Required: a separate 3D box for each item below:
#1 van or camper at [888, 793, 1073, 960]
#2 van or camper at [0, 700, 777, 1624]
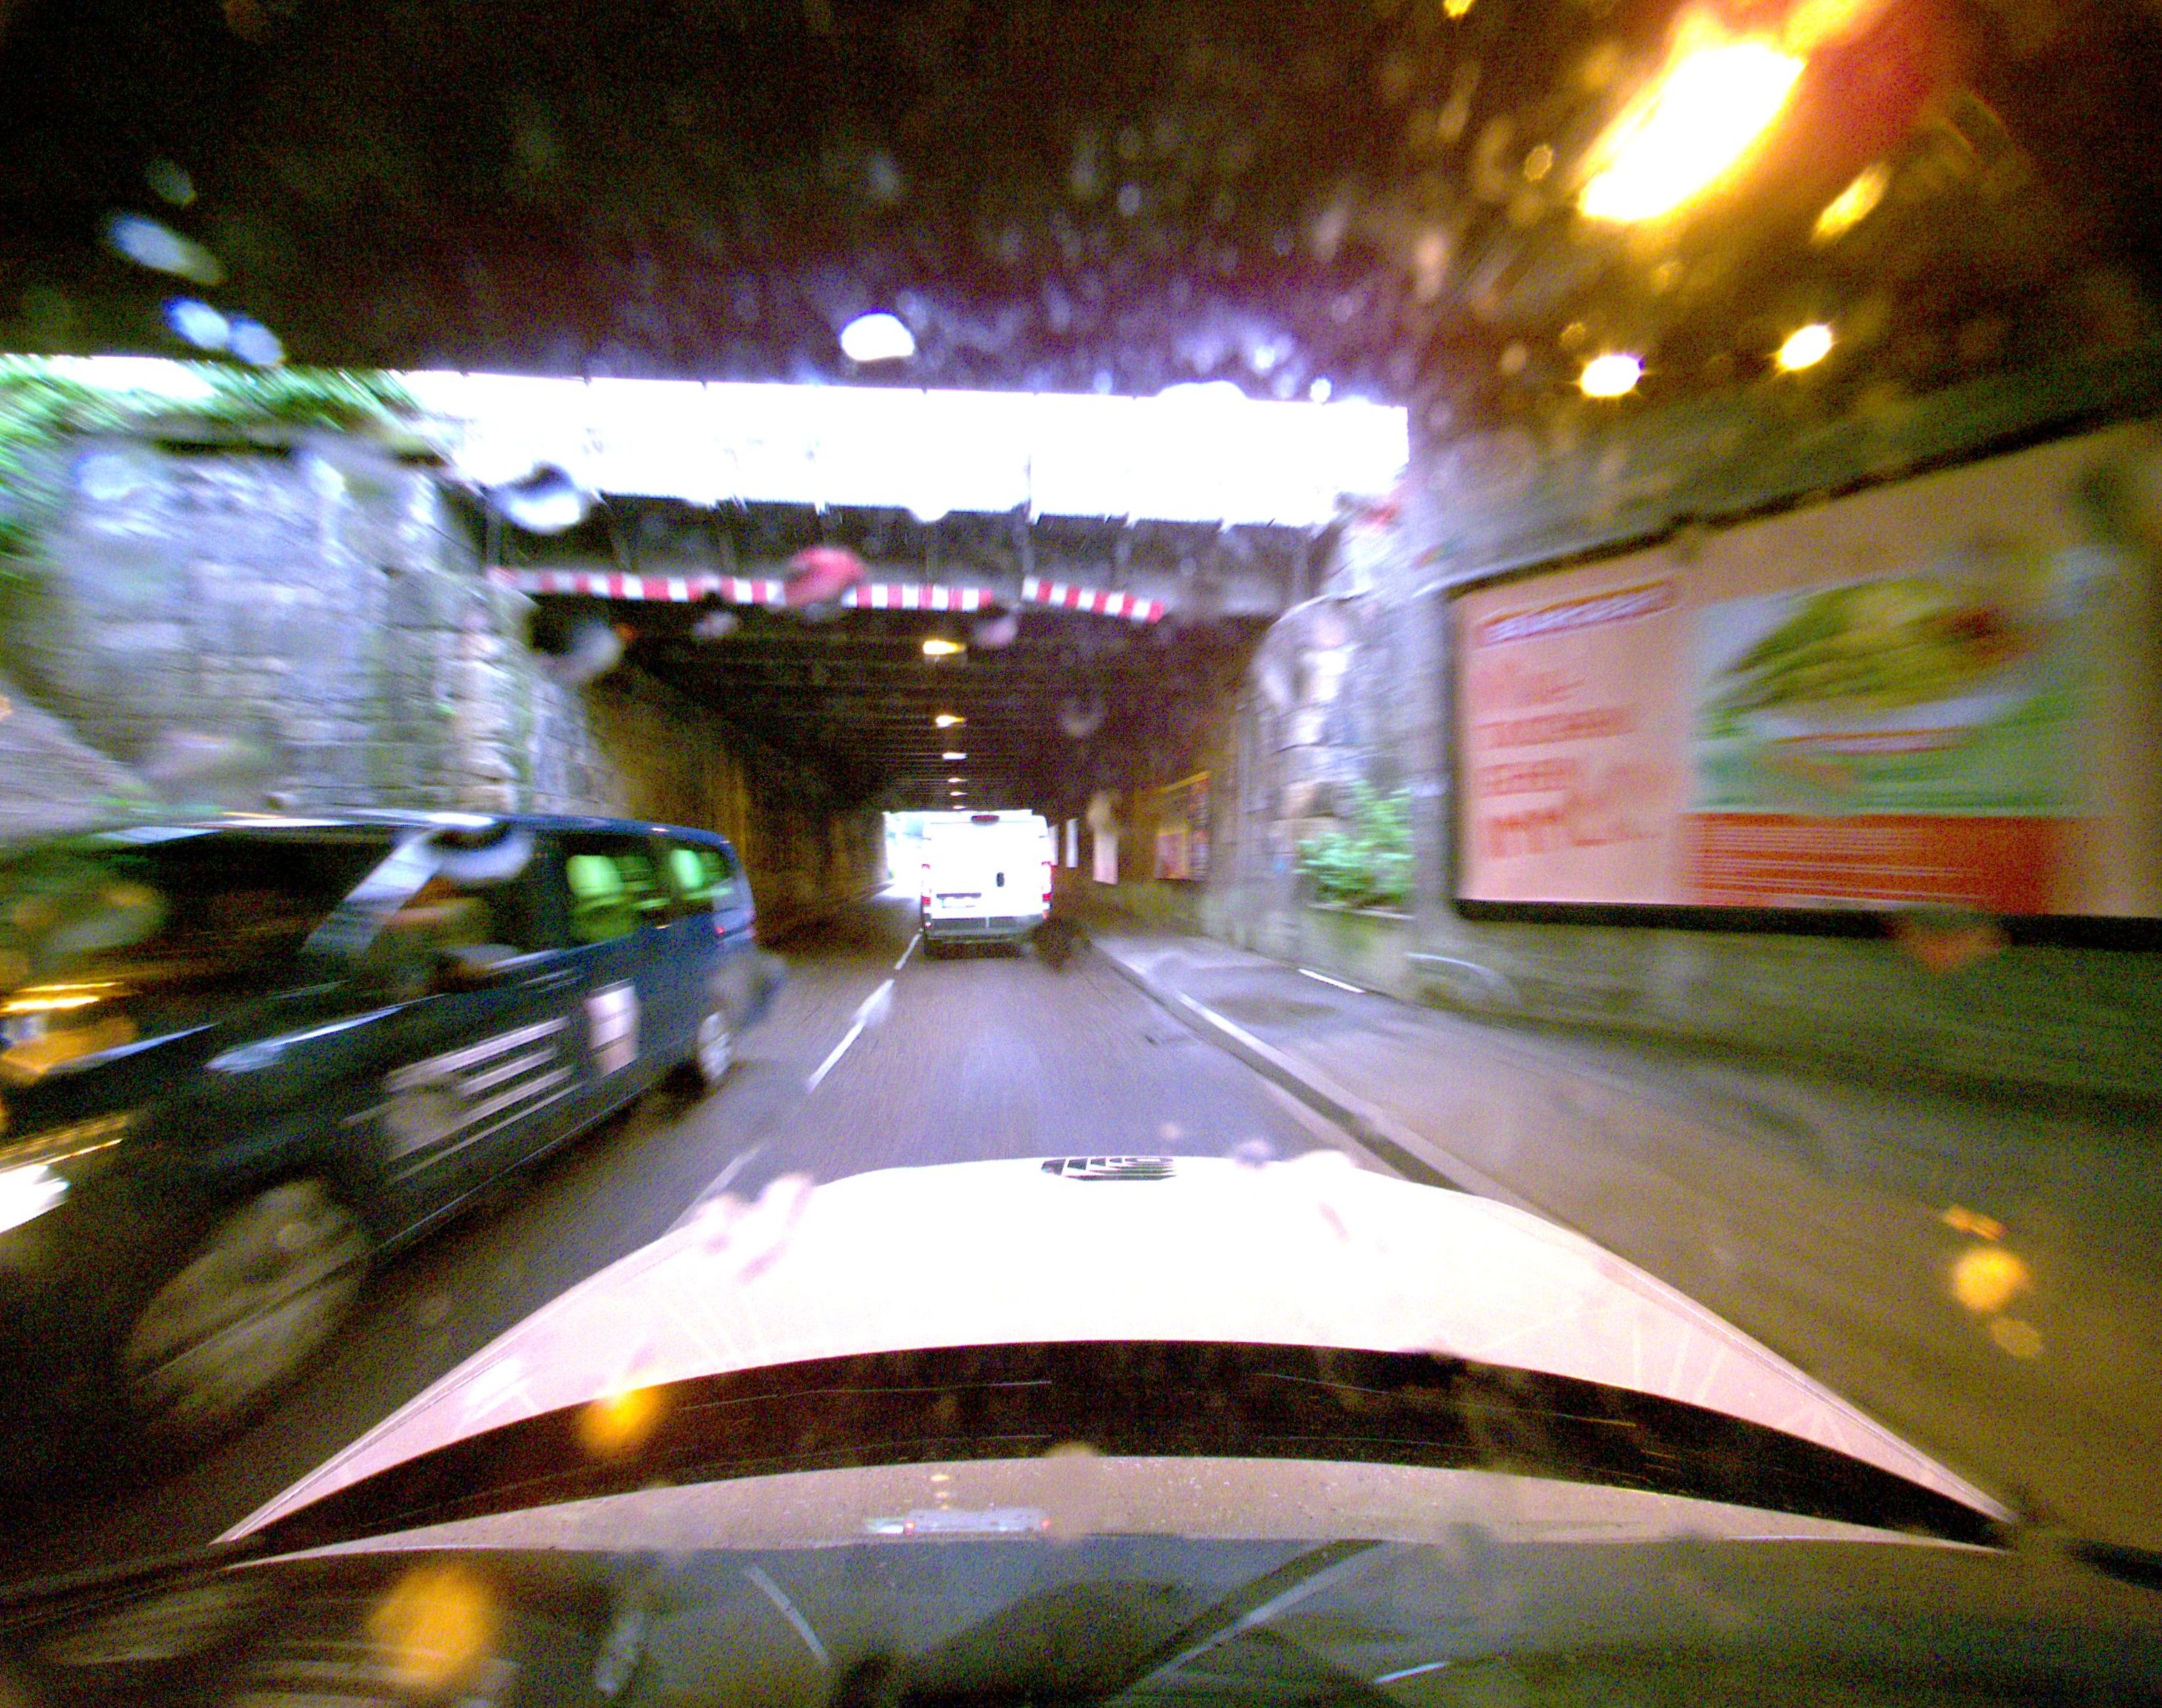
[{"bbox_3d":[-1.780,0.396,14.515,2.696,2.417,4.890,-1,-2,-7],"label":"van or camper"},{"bbox_3d":[-3.321,0.691,3.925,1.989,1.868,5.132,-2,-1,-3],"label":"van or camper"}]
